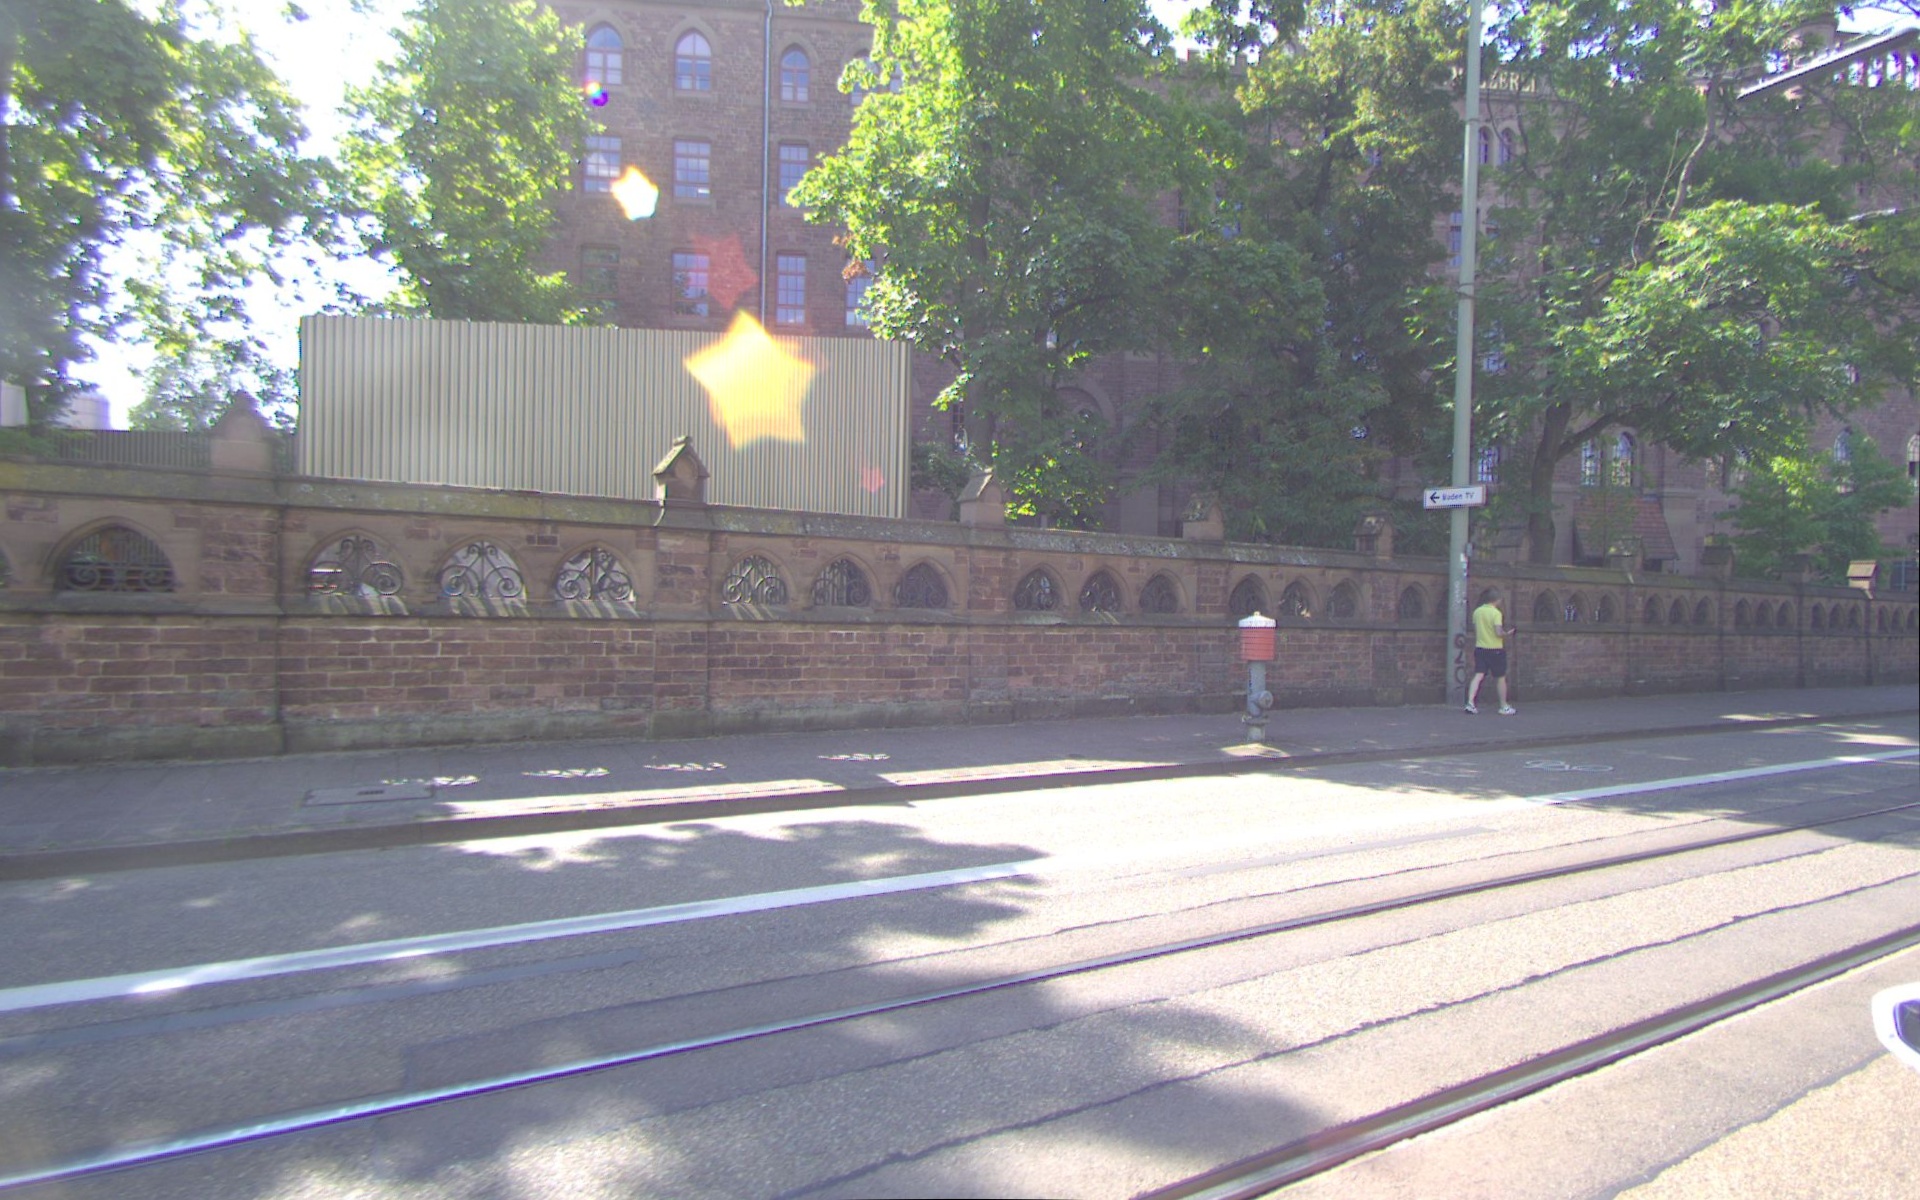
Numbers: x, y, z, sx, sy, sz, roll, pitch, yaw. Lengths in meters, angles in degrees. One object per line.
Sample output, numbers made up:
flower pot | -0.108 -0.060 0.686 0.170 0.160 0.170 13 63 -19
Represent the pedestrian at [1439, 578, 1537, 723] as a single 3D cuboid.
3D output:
pedestrian | 7.756 0.720 14.768 0.972 2.040 0.859 1 0 -31
